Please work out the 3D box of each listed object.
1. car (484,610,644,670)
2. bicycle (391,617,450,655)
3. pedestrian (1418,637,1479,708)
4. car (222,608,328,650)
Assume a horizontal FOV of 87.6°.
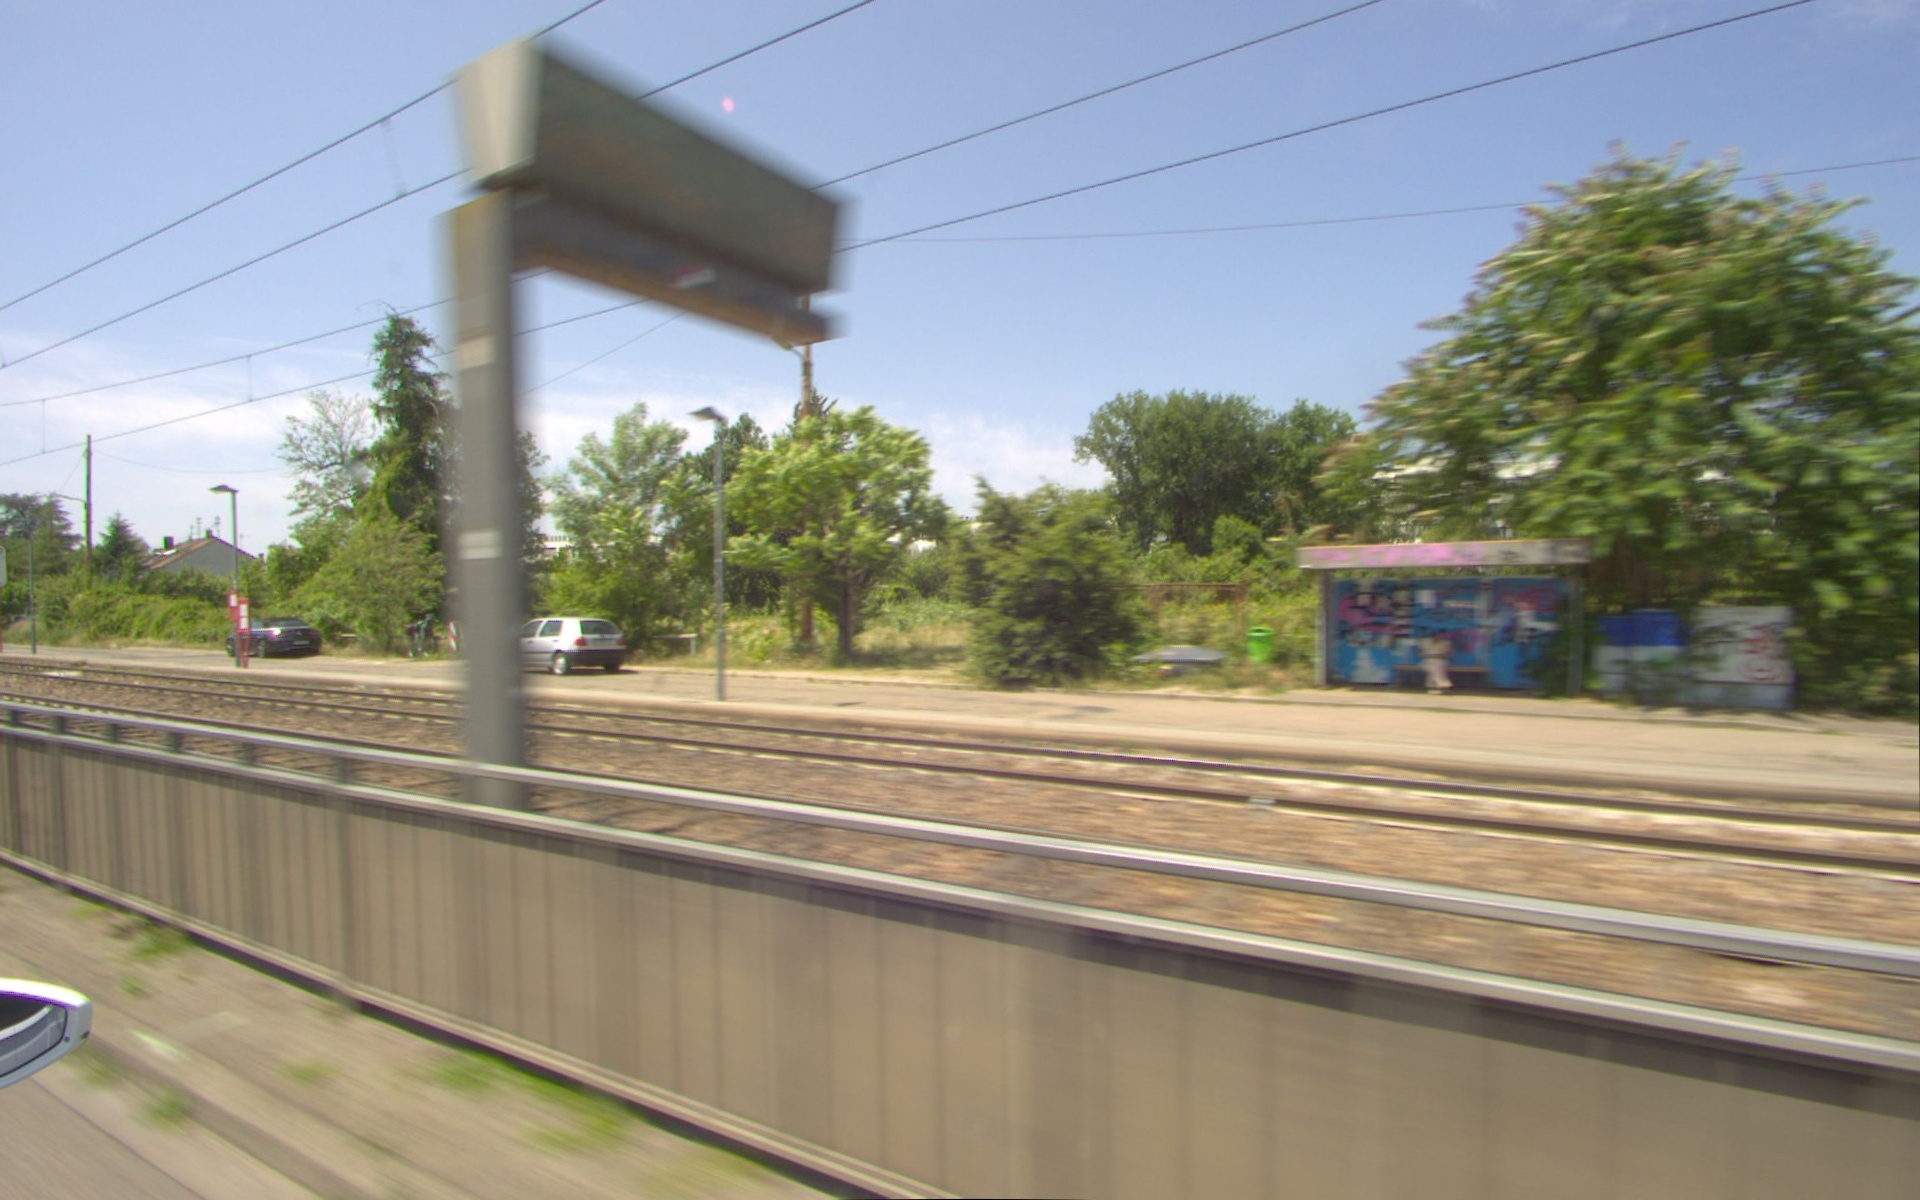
[{"bbox_3d":[-10.224,0.984,25.804,3.944,1.440,1.935,0,-1,34],"label":"car"},{"bbox_3d":[-18.797,1.235,34.897,1.647,1.286,0.704,0,1,-1],"label":"bicycle"},{"bbox_3d":[8.024,1.166,16.444,0.710,1.101,0.805,0,0,41],"label":"pedestrian"},{"bbox_3d":[-25.174,1.039,36.734,4.806,1.440,1.616,0,-1,35],"label":"car"}]
